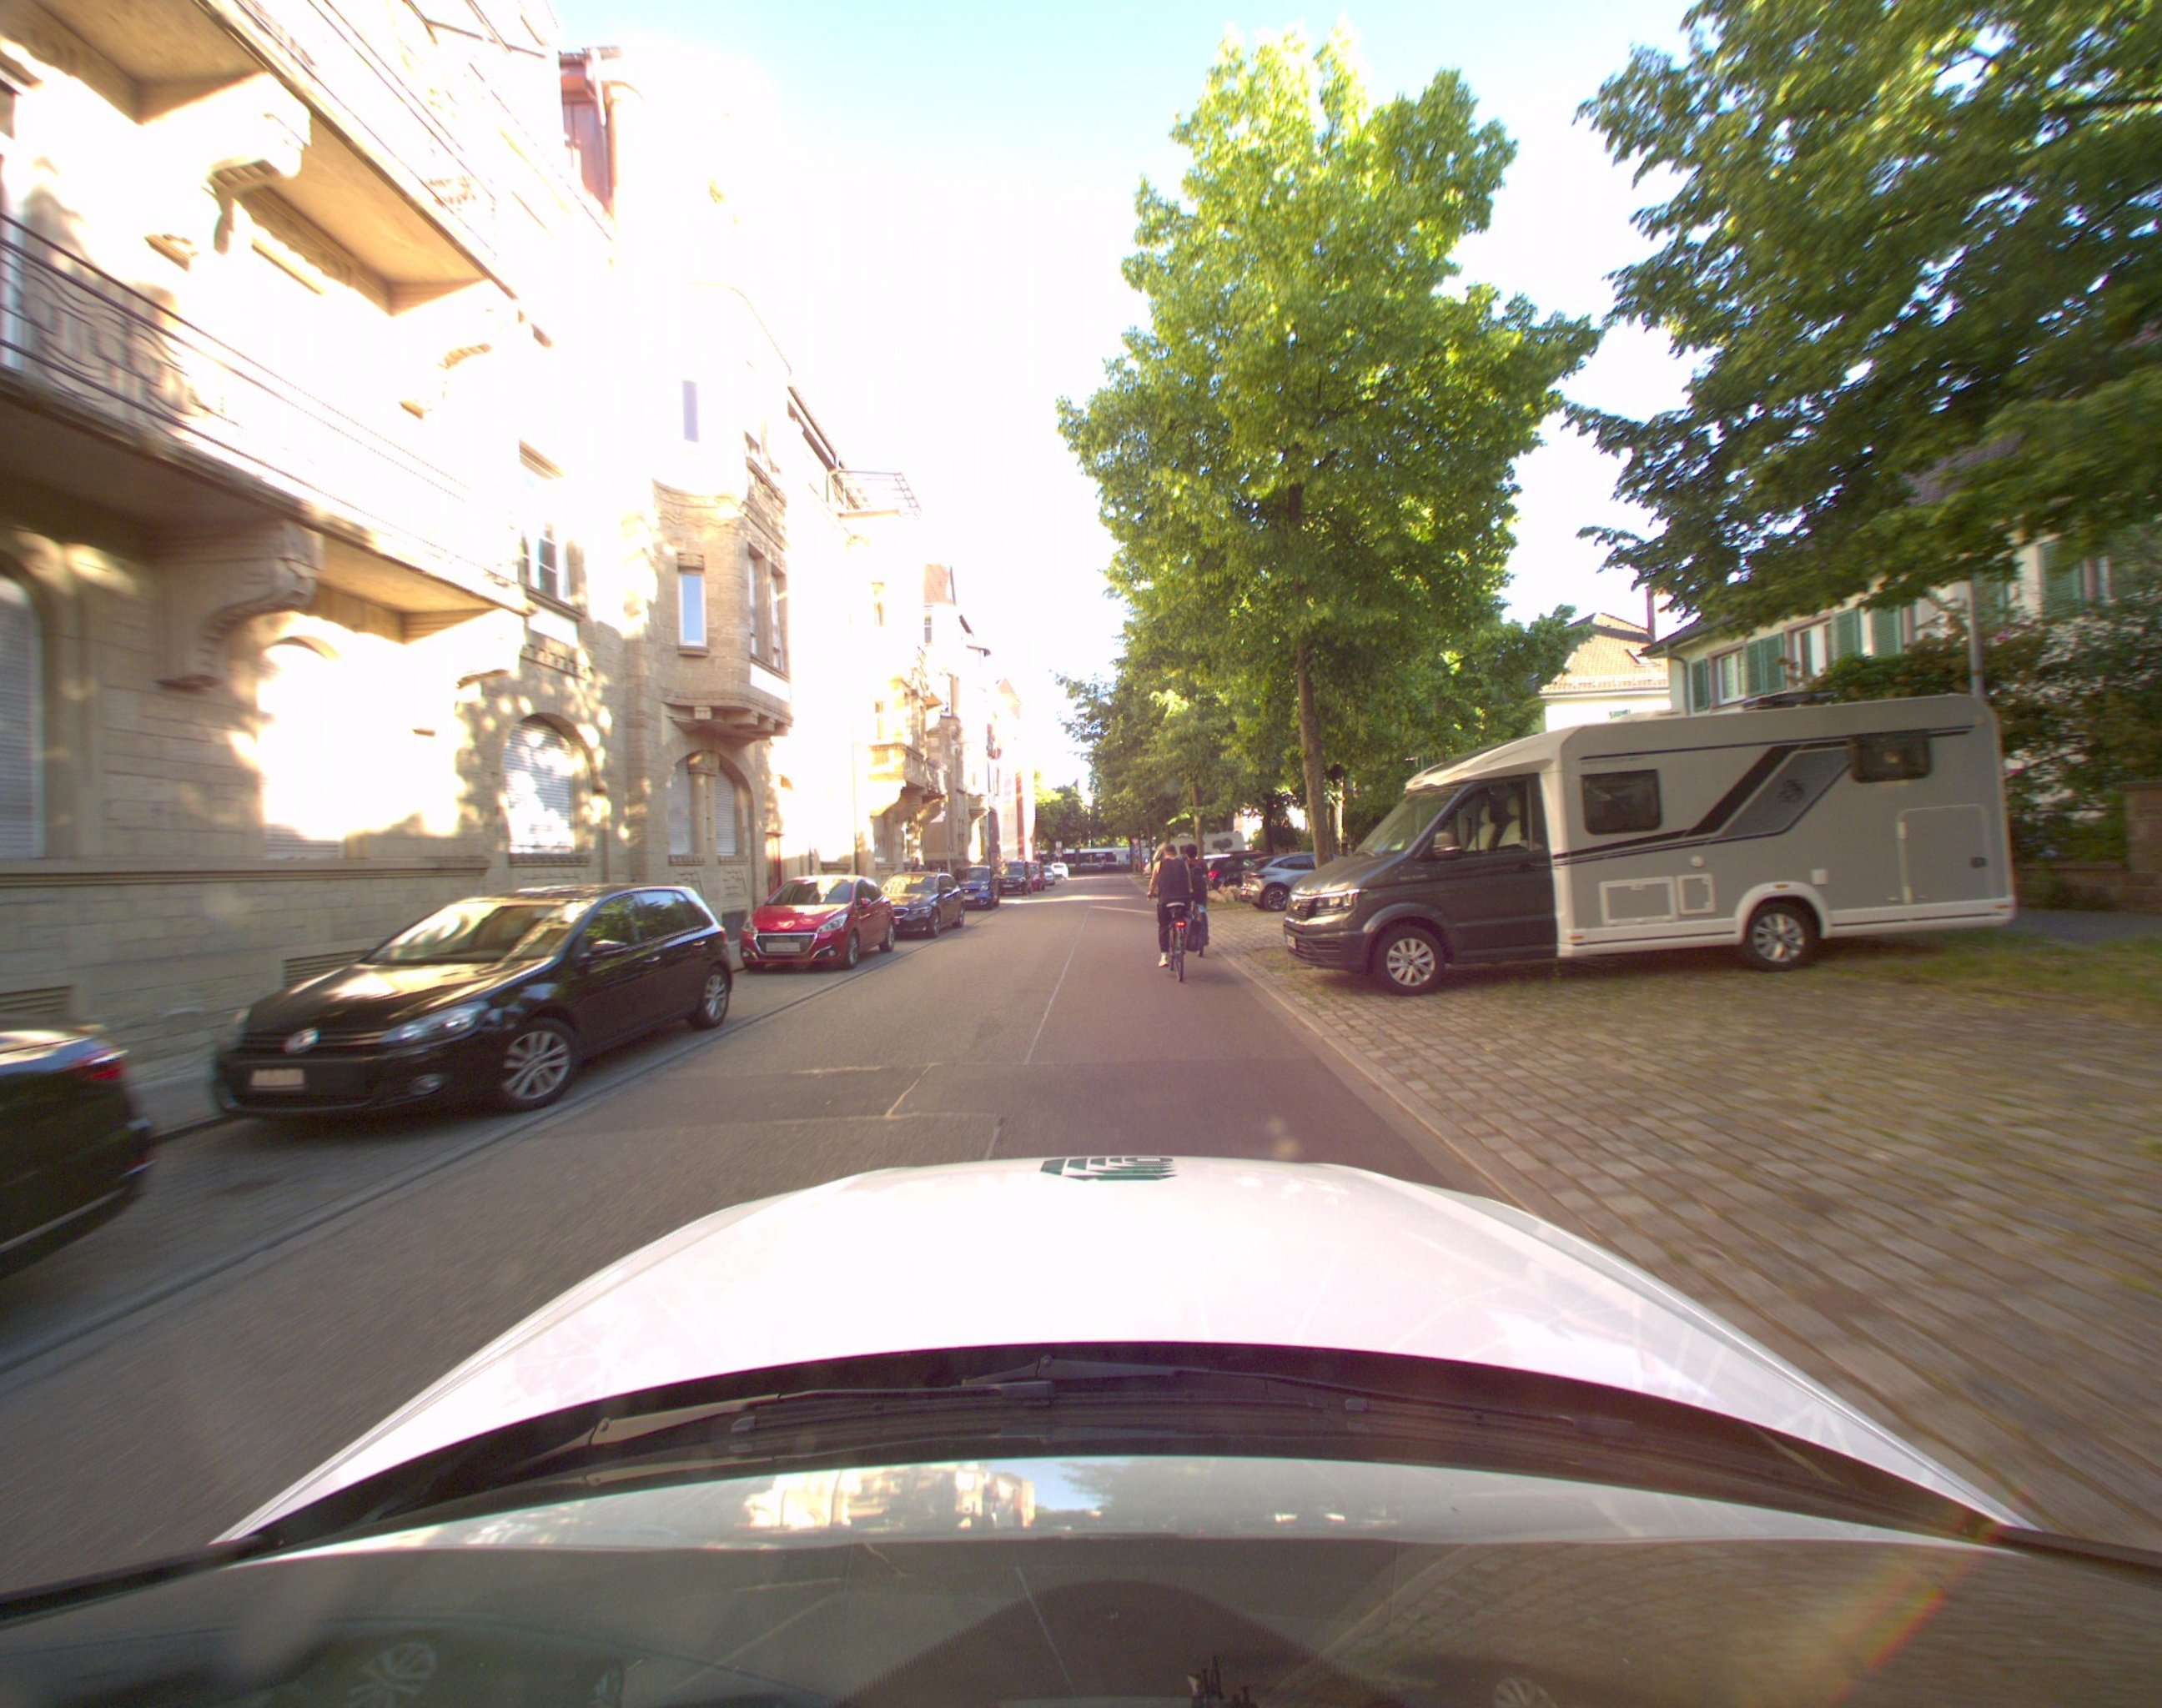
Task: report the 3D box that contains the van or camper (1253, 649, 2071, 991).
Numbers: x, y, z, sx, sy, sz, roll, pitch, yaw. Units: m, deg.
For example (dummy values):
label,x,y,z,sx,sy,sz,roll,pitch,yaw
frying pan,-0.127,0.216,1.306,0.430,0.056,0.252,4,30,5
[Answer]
label,x,y,z,sx,sy,sz,roll,pitch,yaw
van or camper,5.812,-0.294,9.150,7.117,2.647,2.467,-6,-1,3

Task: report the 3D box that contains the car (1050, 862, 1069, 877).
label,x,y,z,sx,sy,sz,roll,pitch,yaw
car,-2.003,1.466,77.359,1.577,1.375,4.134,0,0,2

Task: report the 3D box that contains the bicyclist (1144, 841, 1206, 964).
label,x,y,z,sx,sy,sz,roll,pitch,yaw
bicyclist,1.227,0.620,10.762,0.727,1.548,0.884,0,-1,1

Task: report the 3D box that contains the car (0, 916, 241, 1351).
label,x,y,z,sx,sy,sz,roll,pitch,yaw
car,-4.625,0.950,1.089,1.804,1.427,4.899,0,-1,1

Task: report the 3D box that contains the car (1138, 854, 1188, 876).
label,x,y,z,sx,sy,sz,roll,pitch,yaw
car,6.855,0.921,68.377,3.975,1.804,1.833,-1,-1,-1

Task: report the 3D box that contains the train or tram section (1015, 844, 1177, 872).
label,x,y,z,sx,sy,sz,roll,pitch,yaw
train or tram section,2.434,0.547,119.909,23.890,3.709,4.256,0,-1,-21

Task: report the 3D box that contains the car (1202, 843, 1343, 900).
label,x,y,z,sx,sy,sz,roll,pitch,yaw
car,6.171,0.600,26.660,4.205,1.600,1.692,-3,-2,3

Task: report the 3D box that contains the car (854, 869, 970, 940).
label,x,y,z,sx,sy,sz,roll,pitch,yaw
car,-3.937,1.134,19.730,1.669,1.430,4.553,0,0,2

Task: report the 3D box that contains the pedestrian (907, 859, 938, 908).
label,x,y,z,sx,sy,sz,roll,pitch,yaw
pedestrian,-5.684,1.046,29.180,0.934,1.742,0.735,-1,-1,2

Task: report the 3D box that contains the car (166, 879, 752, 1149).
label,x,y,z,sx,sy,sz,roll,pitch,yaw
car,-4.419,0.981,6.730,1.690,1.453,4.027,-2,-1,0

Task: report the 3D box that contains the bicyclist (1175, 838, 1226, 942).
label,x,y,z,sx,sy,sz,roll,pitch,yaw
bicyclist,1.929,0.567,13.225,0.686,1.627,0.999,-1,-1,2

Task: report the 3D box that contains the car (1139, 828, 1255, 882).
label,x,y,z,sx,sy,sz,roll,pitch,yaw
car,7.612,0.058,53.981,7.126,2.978,2.463,-4,-1,-1

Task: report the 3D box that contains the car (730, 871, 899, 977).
label,x,y,z,sx,sy,sz,roll,pitch,yaw
car,-4.336,1.070,13.870,1.624,1.453,3.836,-1,0,-1

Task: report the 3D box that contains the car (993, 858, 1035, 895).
label,x,y,z,sx,sy,sz,roll,pitch,yaw
car,-3.417,1.106,42.095,1.634,1.783,4.357,0,0,2

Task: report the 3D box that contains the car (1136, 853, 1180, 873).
label,x,y,z,sx,sy,sz,roll,pitch,yaw
car,7.187,0.871,76.263,3.975,1.804,1.833,-1,-1,-1

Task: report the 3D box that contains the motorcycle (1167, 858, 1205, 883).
label,x,y,z,sx,sy,sz,roll,pitch,yaw
motorcycle,5.030,0.805,39.019,1.587,1.141,0.677,-3,-1,35

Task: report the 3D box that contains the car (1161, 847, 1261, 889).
label,x,y,z,sx,sy,sz,roll,pitch,yaw
car,5.658,0.647,35.810,4.121,1.600,1.704,-3,-2,3

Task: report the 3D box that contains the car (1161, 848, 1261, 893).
label,x,y,z,sx,sy,sz,roll,pitch,yaw
car,5.201,0.684,32.958,3.757,1.600,1.692,-3,-2,3

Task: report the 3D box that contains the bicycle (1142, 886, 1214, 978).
label,x,y,z,sx,sy,sz,roll,pitch,yaw
bicycle,1.228,0.963,10.687,0.735,1.054,1.956,0,-1,1

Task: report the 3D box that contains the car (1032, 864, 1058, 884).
label,x,y,z,sx,sy,sz,roll,pitch,yaw
car,-2.596,1.464,59.839,1.577,1.343,4.134,0,0,2

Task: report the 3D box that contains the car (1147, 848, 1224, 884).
label,x,y,z,sx,sy,sz,roll,pitch,yaw
car,5.939,0.685,46.706,4.070,1.650,1.640,-5,-1,-1

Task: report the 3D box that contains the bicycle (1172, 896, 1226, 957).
label,x,y,z,sx,sy,sz,roll,pitch,yaw
bicycle,1.866,1.133,13.073,0.631,0.799,1.833,-3,0,2

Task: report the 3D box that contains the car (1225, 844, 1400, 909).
label,x,y,z,sx,sy,sz,roll,pitch,yaw
car,5.936,0.575,21.163,4.022,1.454,1.689,-2,-1,-2

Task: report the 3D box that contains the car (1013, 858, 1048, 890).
label,x,y,z,sx,sy,sz,roll,pitch,yaw
car,-2.987,1.156,48.852,1.682,1.826,4.275,0,0,2

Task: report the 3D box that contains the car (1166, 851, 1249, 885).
label,x,y,z,sx,sy,sz,roll,pitch,yaw
car,6.801,0.795,44.002,4.126,1.600,1.701,-3,-2,-1

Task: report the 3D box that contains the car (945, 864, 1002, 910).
label,x,y,z,sx,sy,sz,roll,pitch,yaw
car,-3.773,1.126,28.956,1.590,1.489,2.736,1,0,0
